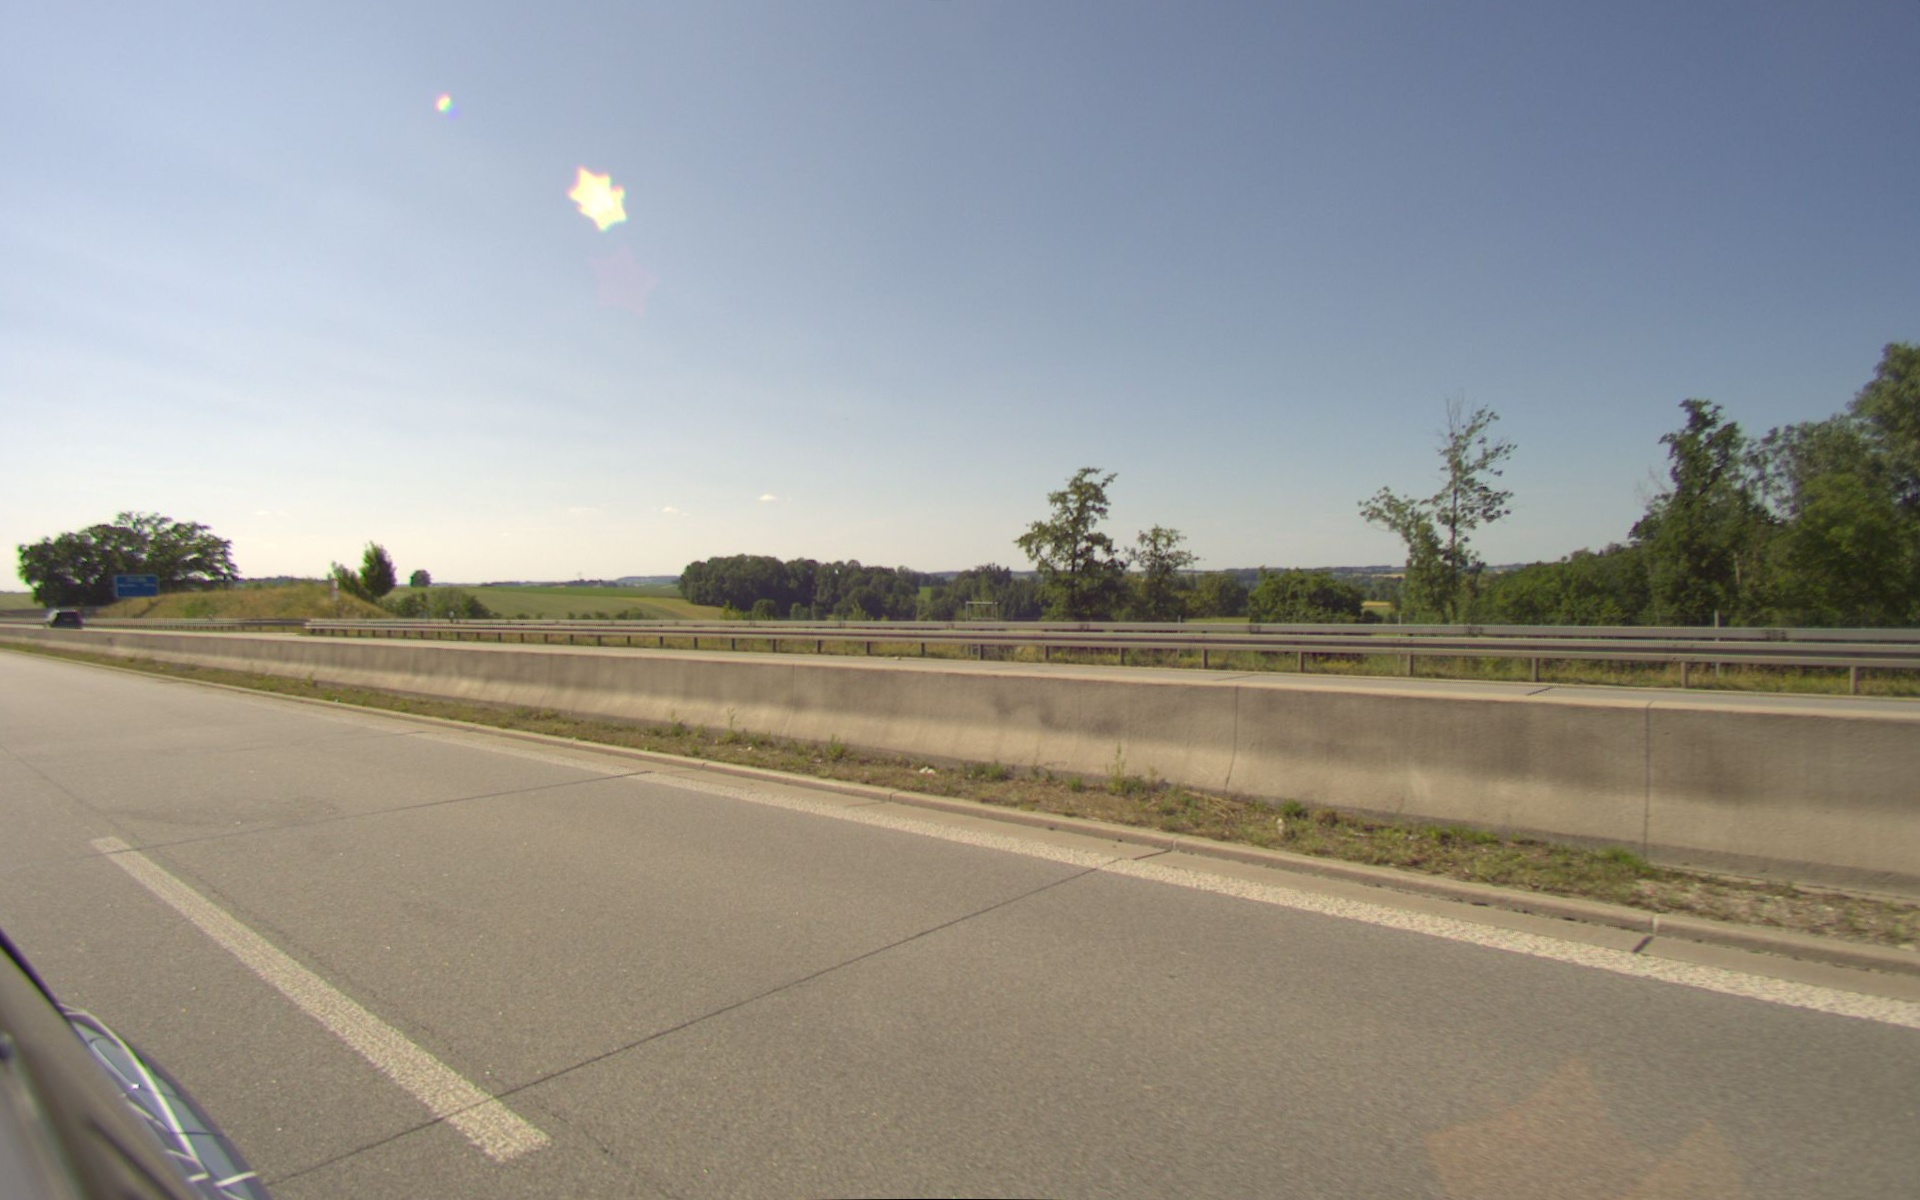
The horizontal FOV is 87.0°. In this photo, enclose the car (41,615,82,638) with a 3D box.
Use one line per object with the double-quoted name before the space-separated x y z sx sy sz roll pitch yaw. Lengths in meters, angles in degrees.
"car" -70.310 2.075 79.199 4.267 1.704 1.881 -1 0 41
